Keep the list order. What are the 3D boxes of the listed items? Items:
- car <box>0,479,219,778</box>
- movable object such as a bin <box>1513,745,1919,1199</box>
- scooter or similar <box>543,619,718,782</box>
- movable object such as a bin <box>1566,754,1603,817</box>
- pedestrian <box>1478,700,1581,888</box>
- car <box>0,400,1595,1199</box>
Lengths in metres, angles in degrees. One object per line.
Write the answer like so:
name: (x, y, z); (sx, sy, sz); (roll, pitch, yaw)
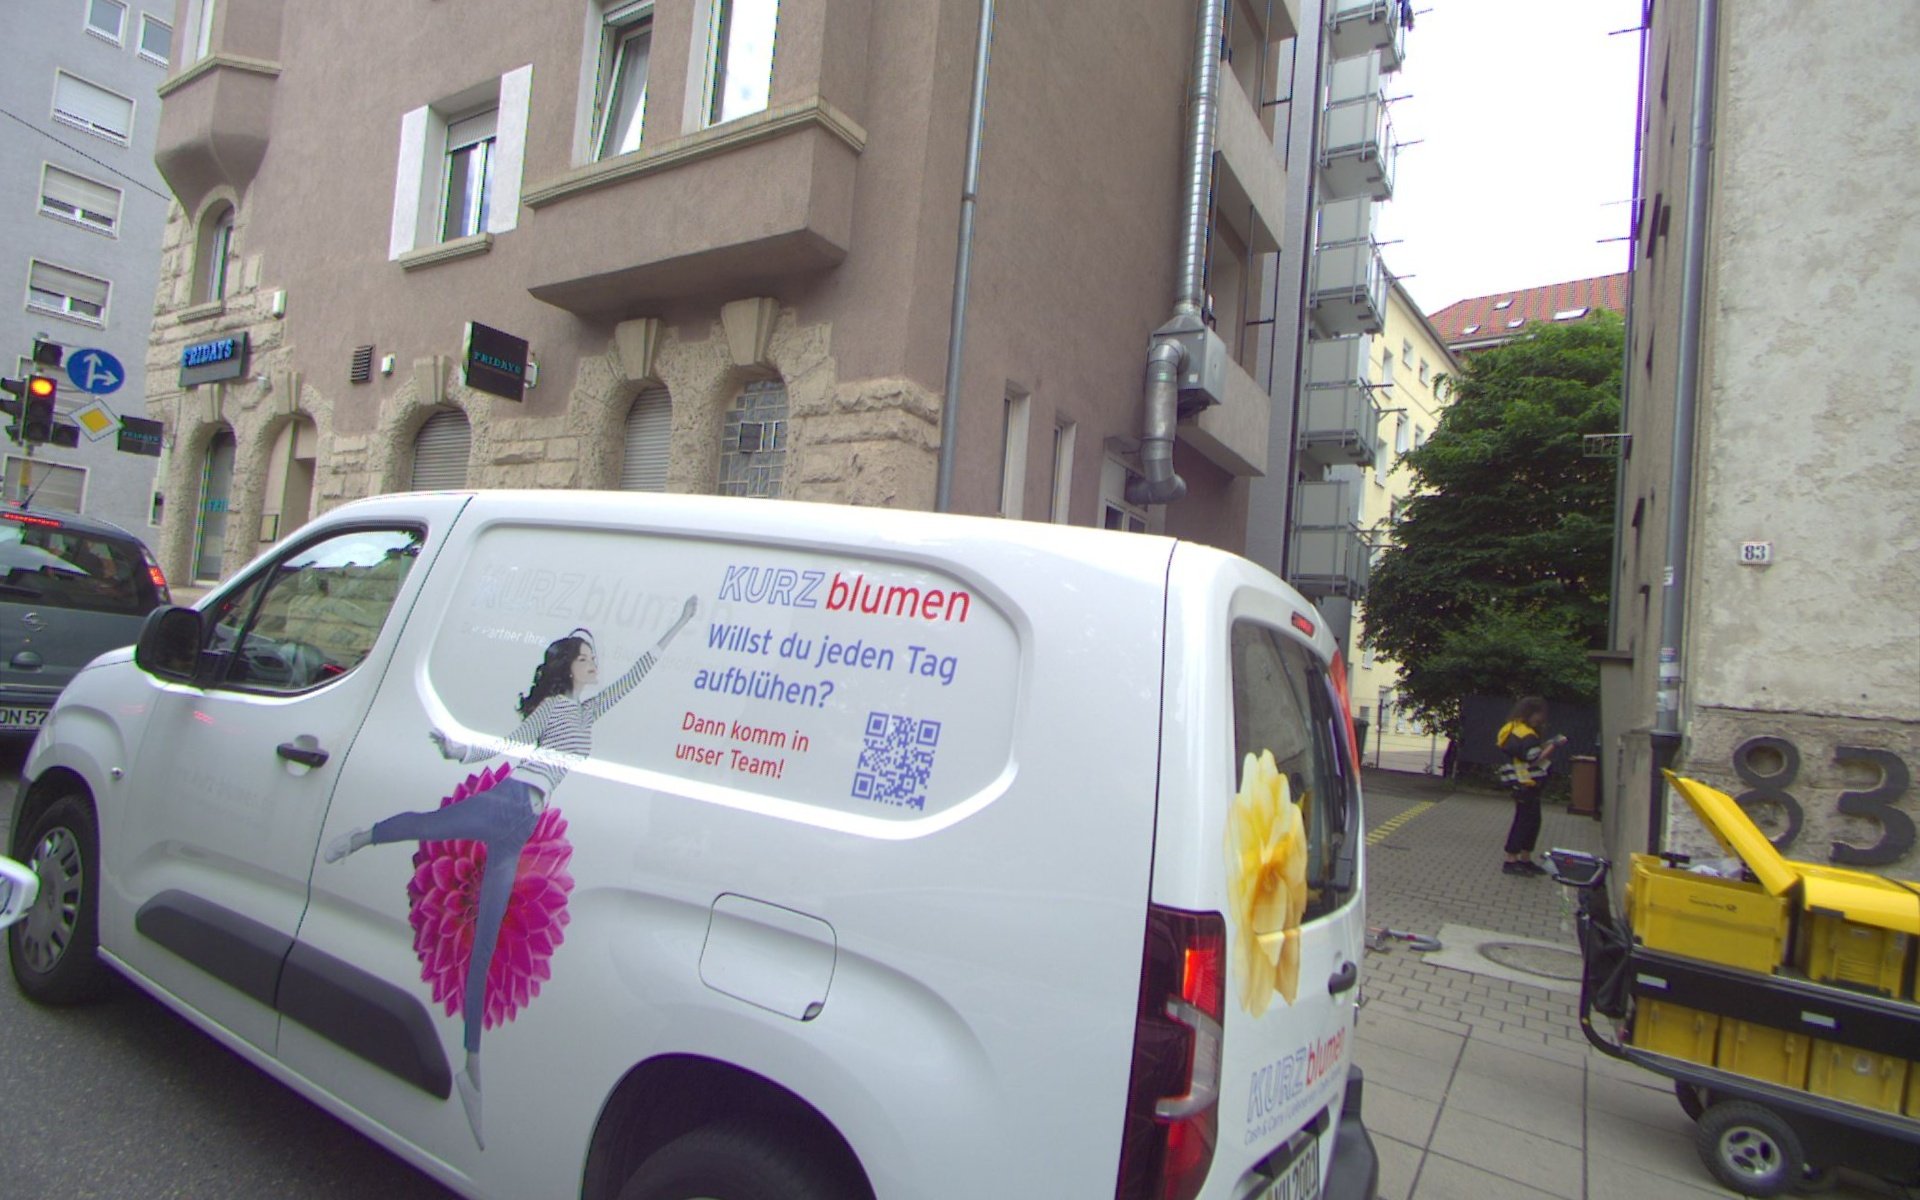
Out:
car: (-6.711, 0.015, 6.536); (3.608, 1.614, 1.634); (6, -5, 32)
movable object such as a bin: (3.390, 1.458, 3.977); (1.979, 1.391, 1.223); (6, 0, 30)
scooter or similar: (-2.743, 0.803, 8.325); (1.400, 1.117, 0.527); (6, -1, 34)
movable object such as a bin: (9.926, 2.939, 15.986); (0.405, 0.922, 0.340); (7, -1, 32)
pedestrian: (5.492, 1.824, 9.737); (0.770, 1.665, 0.811); (1, -3, 24)
car: (-0.904, 0.592, 3.121); (4.597, 1.793, 1.983); (6, -5, 30)
